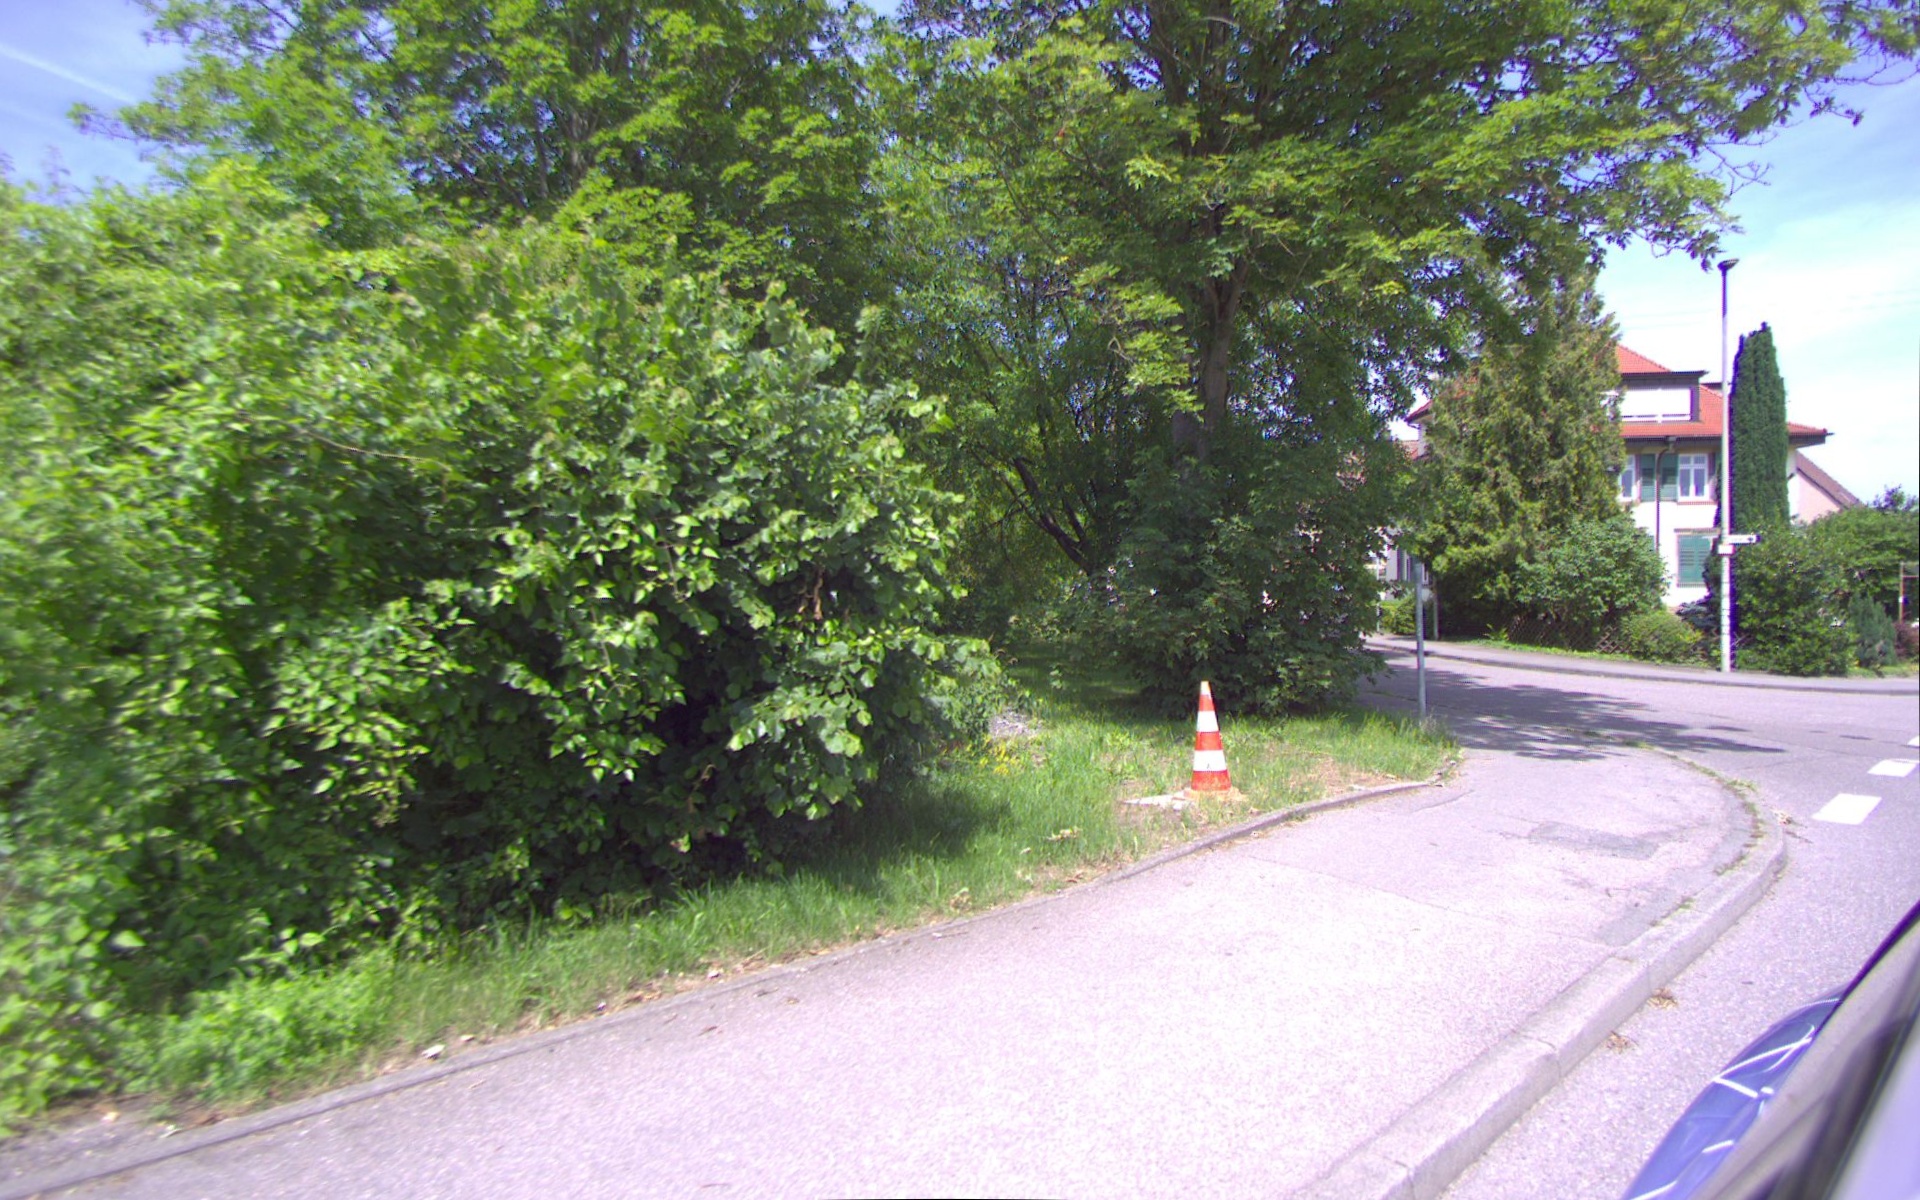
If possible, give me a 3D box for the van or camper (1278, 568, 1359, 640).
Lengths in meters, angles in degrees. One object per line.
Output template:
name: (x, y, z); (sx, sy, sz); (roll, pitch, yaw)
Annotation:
van or camper: (11.528, 0.109, 32.739); (1.790, 2.167, 3.379); (-2, 0, 9)
